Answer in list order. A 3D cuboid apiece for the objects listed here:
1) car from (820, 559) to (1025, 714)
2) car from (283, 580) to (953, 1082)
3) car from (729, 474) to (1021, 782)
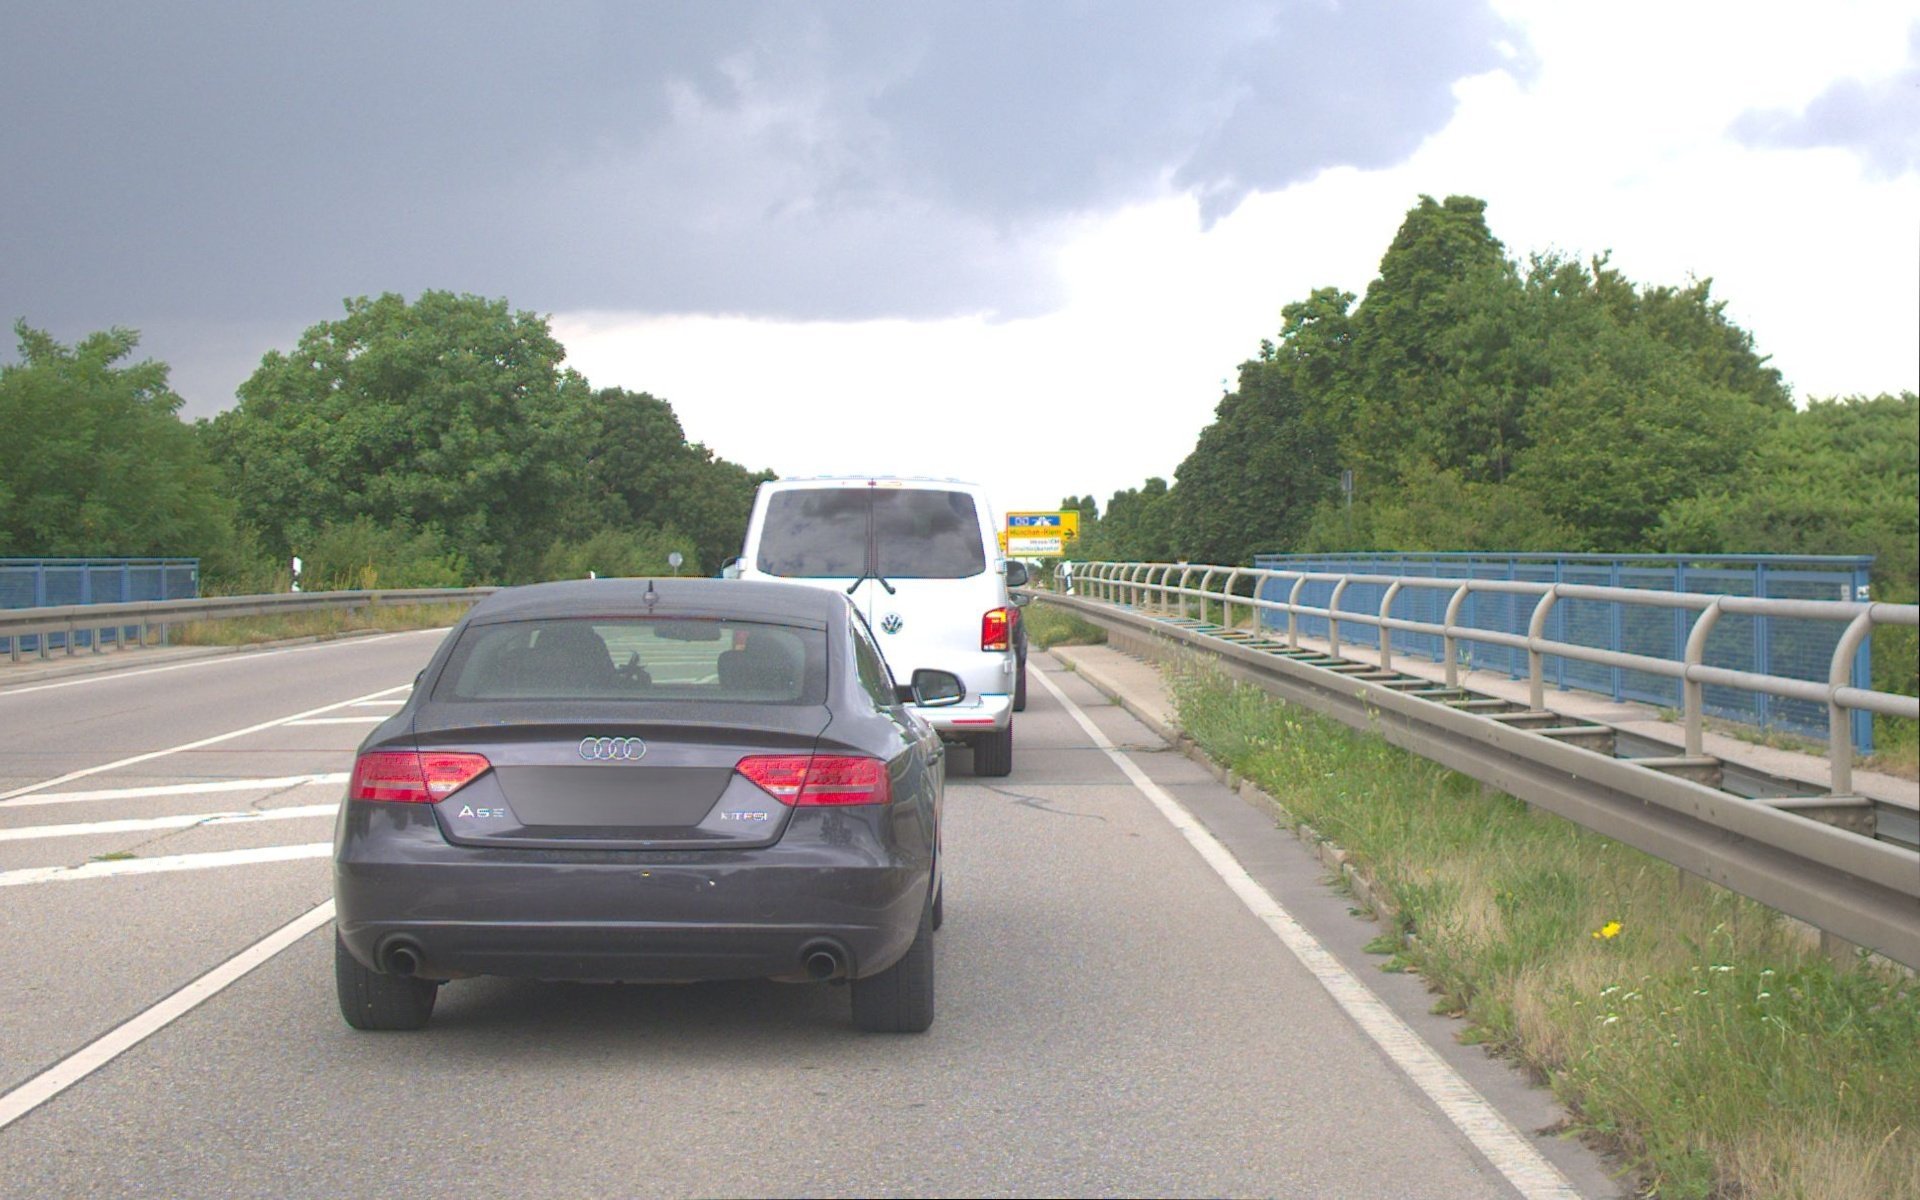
[{"bbox_3d":[-0.314,0.298,32.639,1.821,1.376,4.072,0,1,1],"label":"car"},{"bbox_3d":[-0.959,0.633,11.631,1.821,1.376,4.072,0,1,1],"label":"car"},{"bbox_3d":[-0.557,0.155,23.627,1.828,1.929,4.000,0,1,-1],"label":"car"}]
